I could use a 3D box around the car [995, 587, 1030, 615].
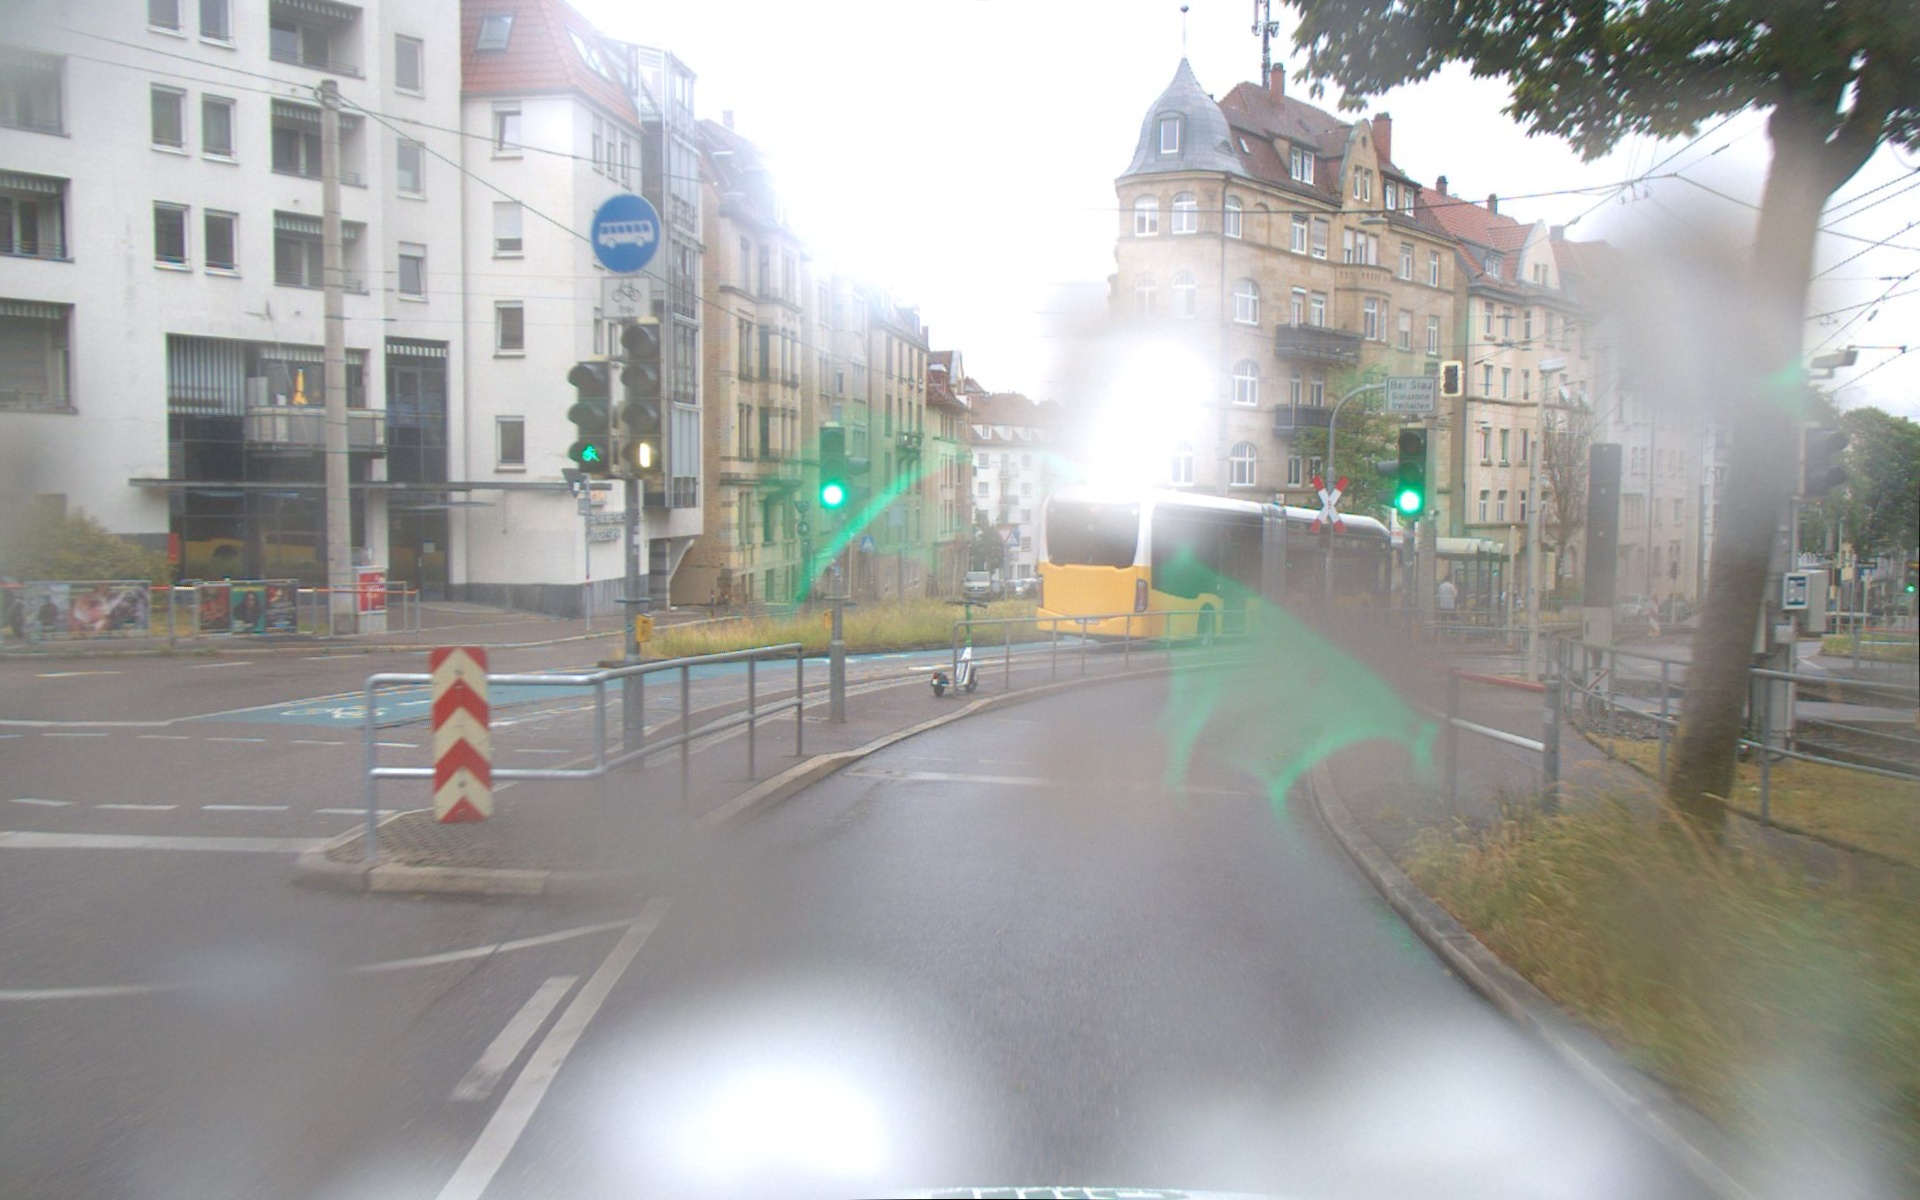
[{"bbox_3d":[4.202,0.068,132.353,2.092,2.174,4.861,1,0,10],"label":"car"}]

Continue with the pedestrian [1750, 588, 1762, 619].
[{"bbox_3d":[48.045,0.230,99.784,0.508,1.870,0.758,-1,-2,39],"label":"pedestrian"}]

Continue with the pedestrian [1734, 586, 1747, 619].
[{"bbox_3d":[45.213,0.169,95.830,0.552,1.882,0.596,-1,-2,39],"label":"pedestrian"}]

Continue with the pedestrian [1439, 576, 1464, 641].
[{"bbox_3d":[13.635,0.241,45.869,0.565,1.783,0.542,1,-1,28],"label":"pedestrian"}]

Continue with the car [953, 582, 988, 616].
[{"bbox_3d":[0.675,-0.033,109.918,2.094,2.174,4.855,1,-1,-2],"label":"car"}]

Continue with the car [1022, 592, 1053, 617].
[{"bbox_3d":[6.910,0.392,146.706,2.092,2.174,4.861,1,0,10],"label":"car"}]

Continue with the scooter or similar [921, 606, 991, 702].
[{"bbox_3d":[-0.032,0.649,20.599,0.424,1.133,1.606,2,0,15],"label":"scooter or similar"}]

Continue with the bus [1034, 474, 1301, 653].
[{"bbox_3d":[4.934,-0.679,37.286,2.543,3.530,9.087,1,0,31],"label":"bus"}]

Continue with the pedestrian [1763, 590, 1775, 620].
[{"bbox_3d":[50.194,0.298,102.576,0.508,1.870,0.758,-1,-2,39],"label":"pedestrian"}]

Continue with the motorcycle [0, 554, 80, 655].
[{"bbox_3d":[-15.451,0.065,26.373,0.685,1.577,2.435,5,2,32],"label":"motorcycle"}]
